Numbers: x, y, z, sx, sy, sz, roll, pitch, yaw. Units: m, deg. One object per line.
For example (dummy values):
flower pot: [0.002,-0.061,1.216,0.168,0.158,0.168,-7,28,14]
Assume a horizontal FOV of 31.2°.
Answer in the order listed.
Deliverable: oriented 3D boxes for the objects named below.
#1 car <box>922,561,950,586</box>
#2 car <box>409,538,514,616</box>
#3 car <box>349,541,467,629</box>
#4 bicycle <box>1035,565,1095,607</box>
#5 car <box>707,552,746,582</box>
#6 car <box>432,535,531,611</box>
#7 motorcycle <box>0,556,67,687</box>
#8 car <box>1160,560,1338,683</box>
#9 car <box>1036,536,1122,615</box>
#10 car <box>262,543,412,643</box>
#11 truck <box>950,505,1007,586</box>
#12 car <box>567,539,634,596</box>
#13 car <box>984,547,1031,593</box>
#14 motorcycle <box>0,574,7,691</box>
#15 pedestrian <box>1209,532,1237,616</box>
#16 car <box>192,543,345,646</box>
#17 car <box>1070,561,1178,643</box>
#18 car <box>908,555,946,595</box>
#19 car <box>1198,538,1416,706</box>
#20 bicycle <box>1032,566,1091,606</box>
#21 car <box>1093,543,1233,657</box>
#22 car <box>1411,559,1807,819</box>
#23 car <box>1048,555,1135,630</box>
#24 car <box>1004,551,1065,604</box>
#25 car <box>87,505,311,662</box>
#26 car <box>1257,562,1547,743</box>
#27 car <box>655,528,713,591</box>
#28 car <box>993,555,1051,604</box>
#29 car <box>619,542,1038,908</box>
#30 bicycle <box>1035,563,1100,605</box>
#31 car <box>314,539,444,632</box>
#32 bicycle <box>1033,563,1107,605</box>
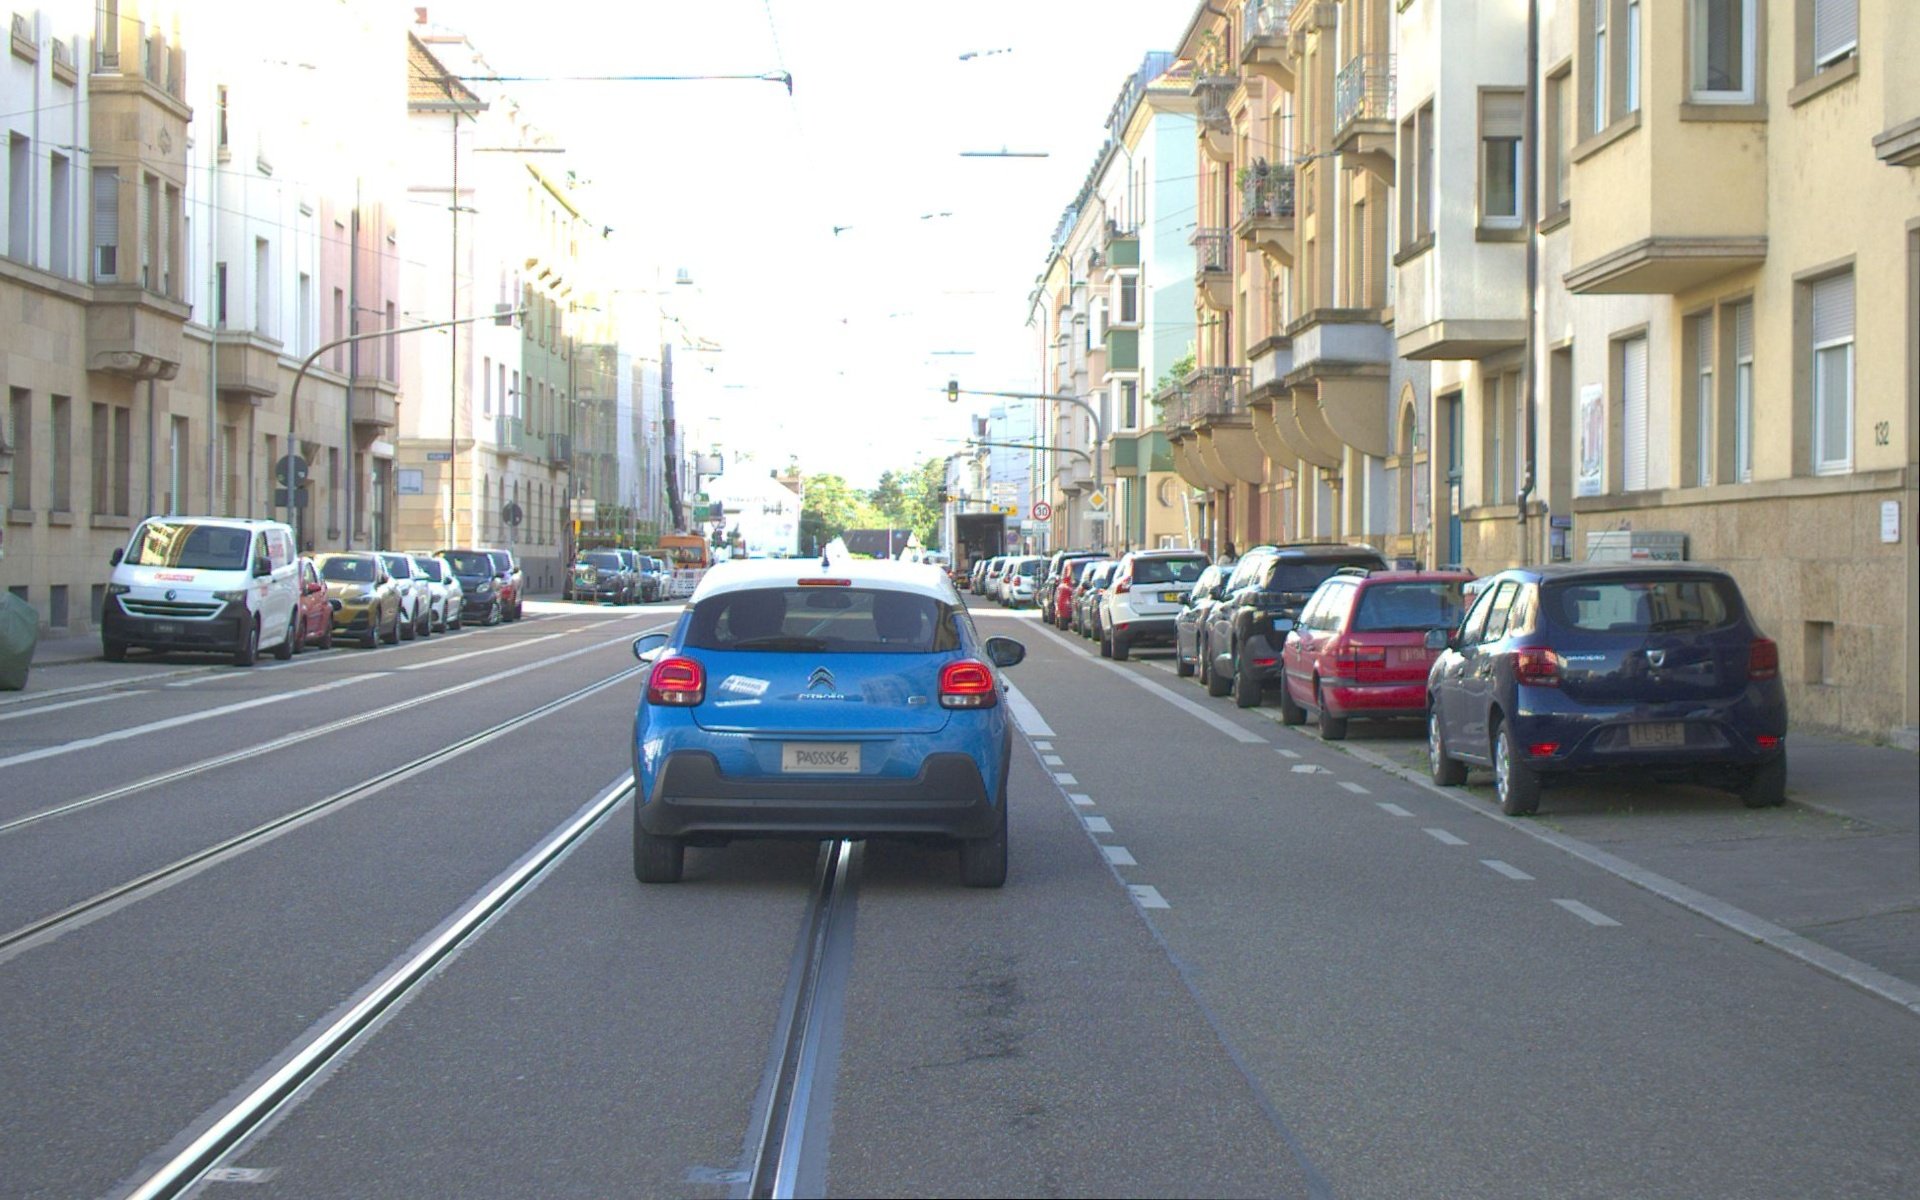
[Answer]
car: [-1.490,-1.649,212.373,1.765,1.481,4.032,0,1,-1]
car: [-10.604,-0.500,73.326,1.783,1.547,3.019,2,1,-1]
car: [-10.852,-0.319,67.802,1.783,1.616,4.180,2,1,-3]
bicycle: [3.147,-0.416,102.965,1.722,1.150,0.469,-3,1,0]
car: [-12.872,-1.816,189.608,1.826,1.626,4.849,0,1,-1]
car: [-10.766,-0.620,77.586,1.783,1.601,4.398,2,1,-3]
motorcycle: [-10.288,0.213,35.544,0.885,1.346,1.954,2,1,32]
car: [3.555,0.232,42.873,1.737,1.437,4.033,1,1,-2]
car: [2.790,-0.594,81.282,1.753,1.730,4.507,-3,1,0]
car: [-10.297,-0.139,57.086,1.783,1.518,4.360,2,1,-2]
truck: [0.933,-2.833,178.908,2.853,4.069,11.271,0,1,0]
car: [-11.302,-1.047,108.403,1.783,1.684,4.668,2,1,-3]
car: [1.879,-1.197,137.410,1.730,1.821,4.686,0,1,-1]
motorcycle: [-10.412,0.319,33.686,0.740,1.167,2.176,2,1,29]
pedestrian: [5.305,-0.531,69.297,0.513,1.681,0.448,0,1,-1]
car: [-10.547,-0.108,52.657,1.602,1.467,3.646,2,1,-1]
car: [3.069,0.009,65.071,1.654,1.478,4.475,1,1,-2]
car: [-1.646,-1.236,169.663,1.821,1.888,4.000,1,1,-1]
car: [3.611,0.187,36.471,1.859,1.660,4.561,1,1,0]
bicycle: [3.108,-0.434,105.096,1.722,1.150,0.469,-3,1,0]
car: [3.108,-0.028,53.335,1.843,1.685,4.505,1,1,-1]
car: [4.035,0.493,21.965,1.718,1.486,4.002,-1,1,-1]
car: [2.825,-0.184,74.615,1.753,1.589,3.730,1,1,0]
car: [2.334,-0.716,108.380,1.783,1.626,4.000,0,1,-1]
car: [-10.304,-0.255,46.934,1.973,1.942,5.252,2,1,-2]
car: [3.805,0.400,30.377,1.859,1.450,4.710,1,1,-1]
car: [-11.447,-1.682,142.879,2.144,2.467,4.981,2,1,-3]
car: [2.025,-0.699,113.815,1.783,1.570,4.326,0,1,-1]
car: [-0.588,0.511,16.752,1.735,1.502,3.992,2,1,-1]
bicycle: [3.172,-0.465,101.179,1.842,1.150,0.469,-3,1,0]
car: [-10.501,-0.287,62.426,1.771,1.541,4.366,2,1,-3]
bicycle: [3.204,-0.473,100.454,2.086,1.150,0.848,-2,1,0]
